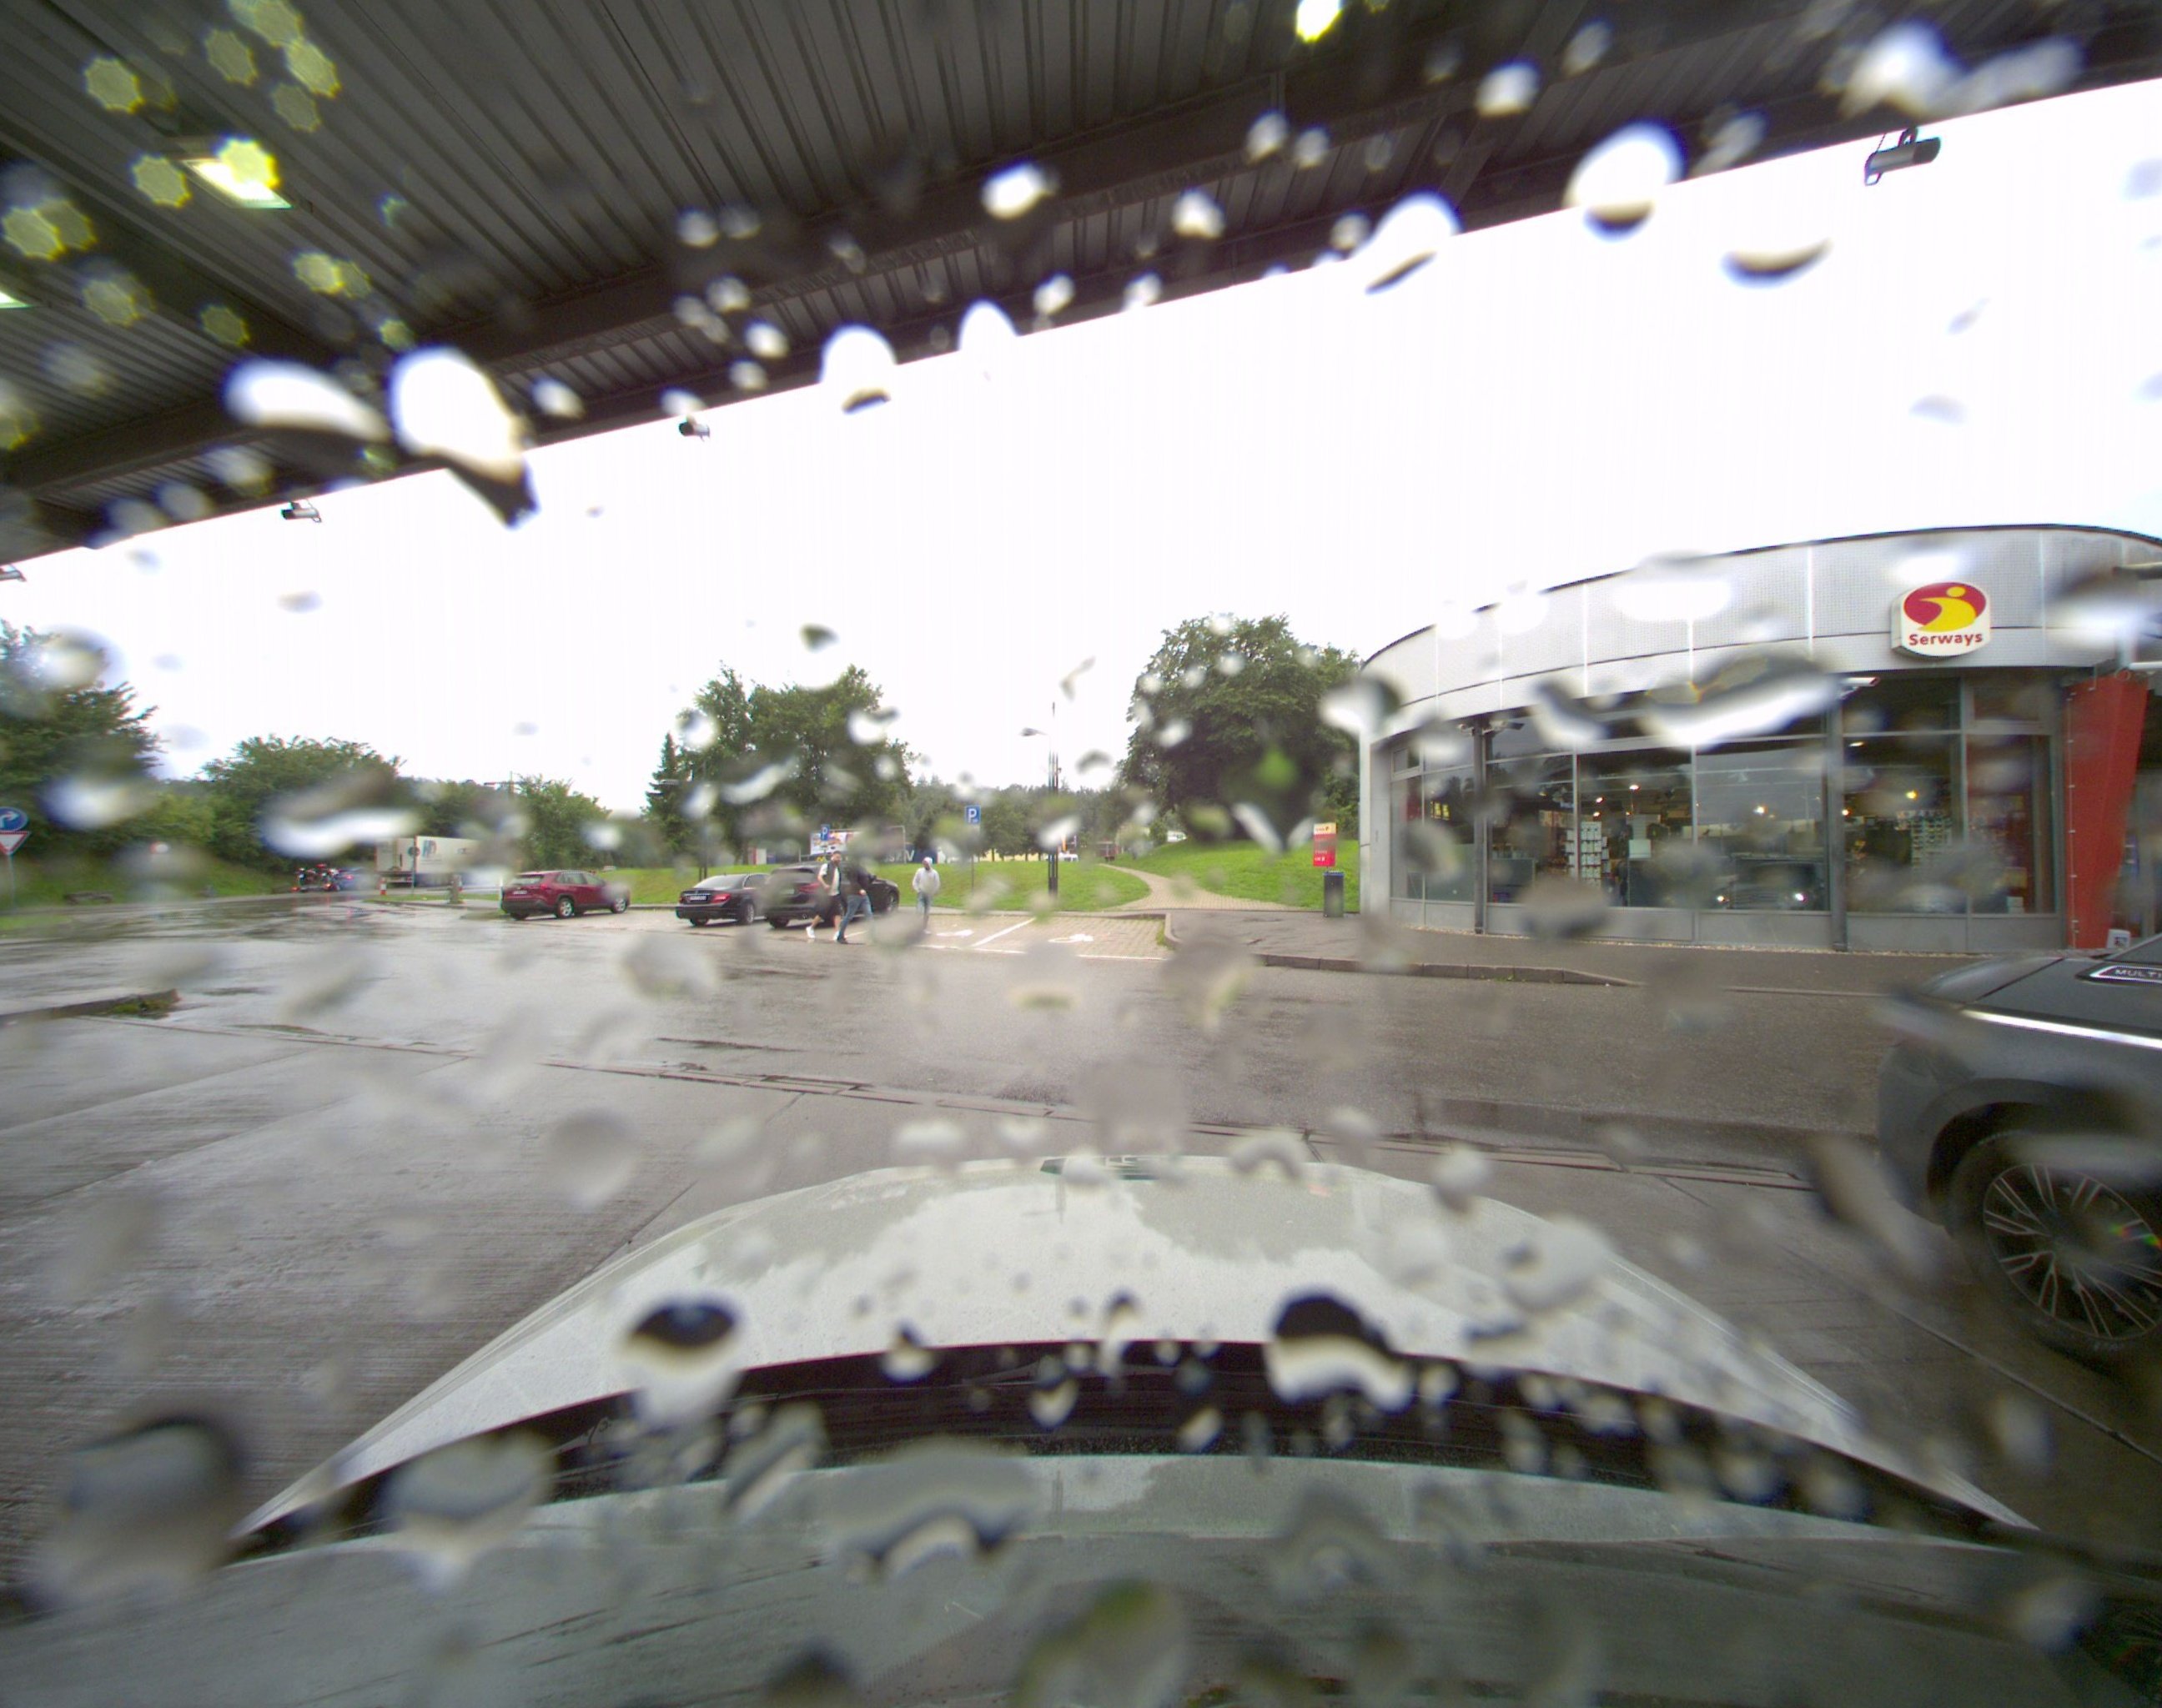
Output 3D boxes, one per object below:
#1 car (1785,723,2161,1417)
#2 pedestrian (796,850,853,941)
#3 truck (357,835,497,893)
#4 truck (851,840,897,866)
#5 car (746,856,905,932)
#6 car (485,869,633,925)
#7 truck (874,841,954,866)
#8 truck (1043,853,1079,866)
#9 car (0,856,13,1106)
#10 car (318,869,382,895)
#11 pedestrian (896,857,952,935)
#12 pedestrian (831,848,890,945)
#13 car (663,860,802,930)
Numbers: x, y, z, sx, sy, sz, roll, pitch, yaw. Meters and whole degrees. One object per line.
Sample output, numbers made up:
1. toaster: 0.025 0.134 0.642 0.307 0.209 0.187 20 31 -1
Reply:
1. car: 3.676 0.543 0.674 1.854 1.798 5.142 0 -1 2
2. pedestrian: -5.511 0.868 17.520 0.942 1.887 0.708 -1 -1 30
3. truck: -55.443 0.849 69.974 3.550 4.340 16.899 0 -1 -18
4. truck: -24.183 -0.083 95.452 2.165 2.920 5.419 -1 -1 27
5. car: -6.647 0.973 21.777 2.002 1.711 4.360 -2 0 14
6. car: -18.135 1.445 28.589 1.928 1.644 4.352 -2 0 7
7. truck: -20.750 -0.052 102.343 2.165 2.920 13.175 -1 -1 26
8. truck: -3.245 0.877 134.102 5.356 2.014 2.381 -1 -1 26
9. car: -7.966 0.805 2.673 1.854 1.608 5.273 0 -1 2
10. car: -50.342 1.888 56.170 1.814 1.681 3.927 0 -1 -18
11. pedestrian: -3.392 0.891 17.626 0.943 1.631 0.707 -1 -1 17
12. pedestrian: -4.404 0.829 16.305 0.884 1.887 0.707 -1 -1 17
13. car: -9.833 1.084 23.421 2.010 1.711 4.344 -2 0 1
